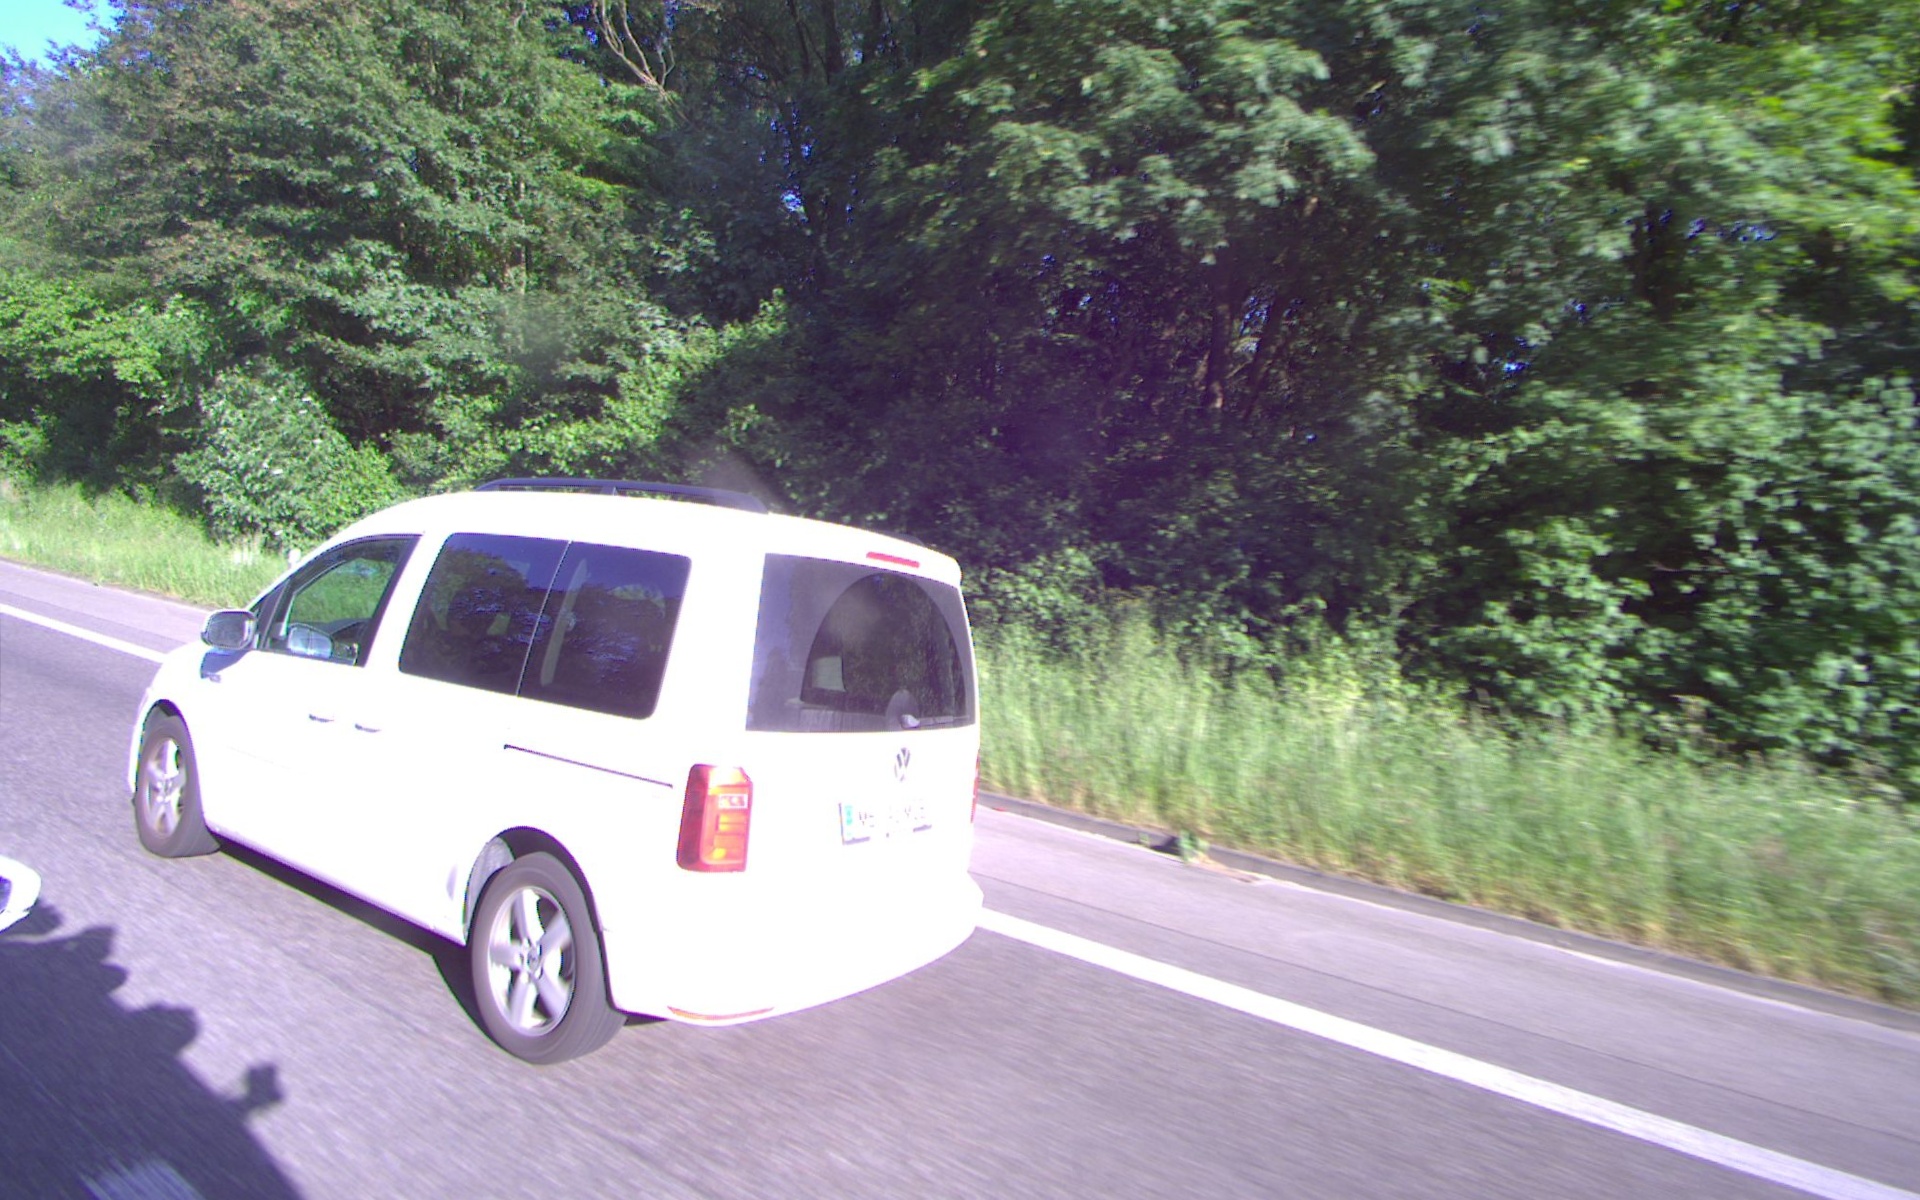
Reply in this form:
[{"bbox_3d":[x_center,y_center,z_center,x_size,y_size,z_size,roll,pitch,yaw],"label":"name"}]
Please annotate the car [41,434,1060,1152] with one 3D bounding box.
[{"bbox_3d":[-2.062,0.391,4.570,4.511,1.834,1.802,7,-1,31],"label":"car"}]
